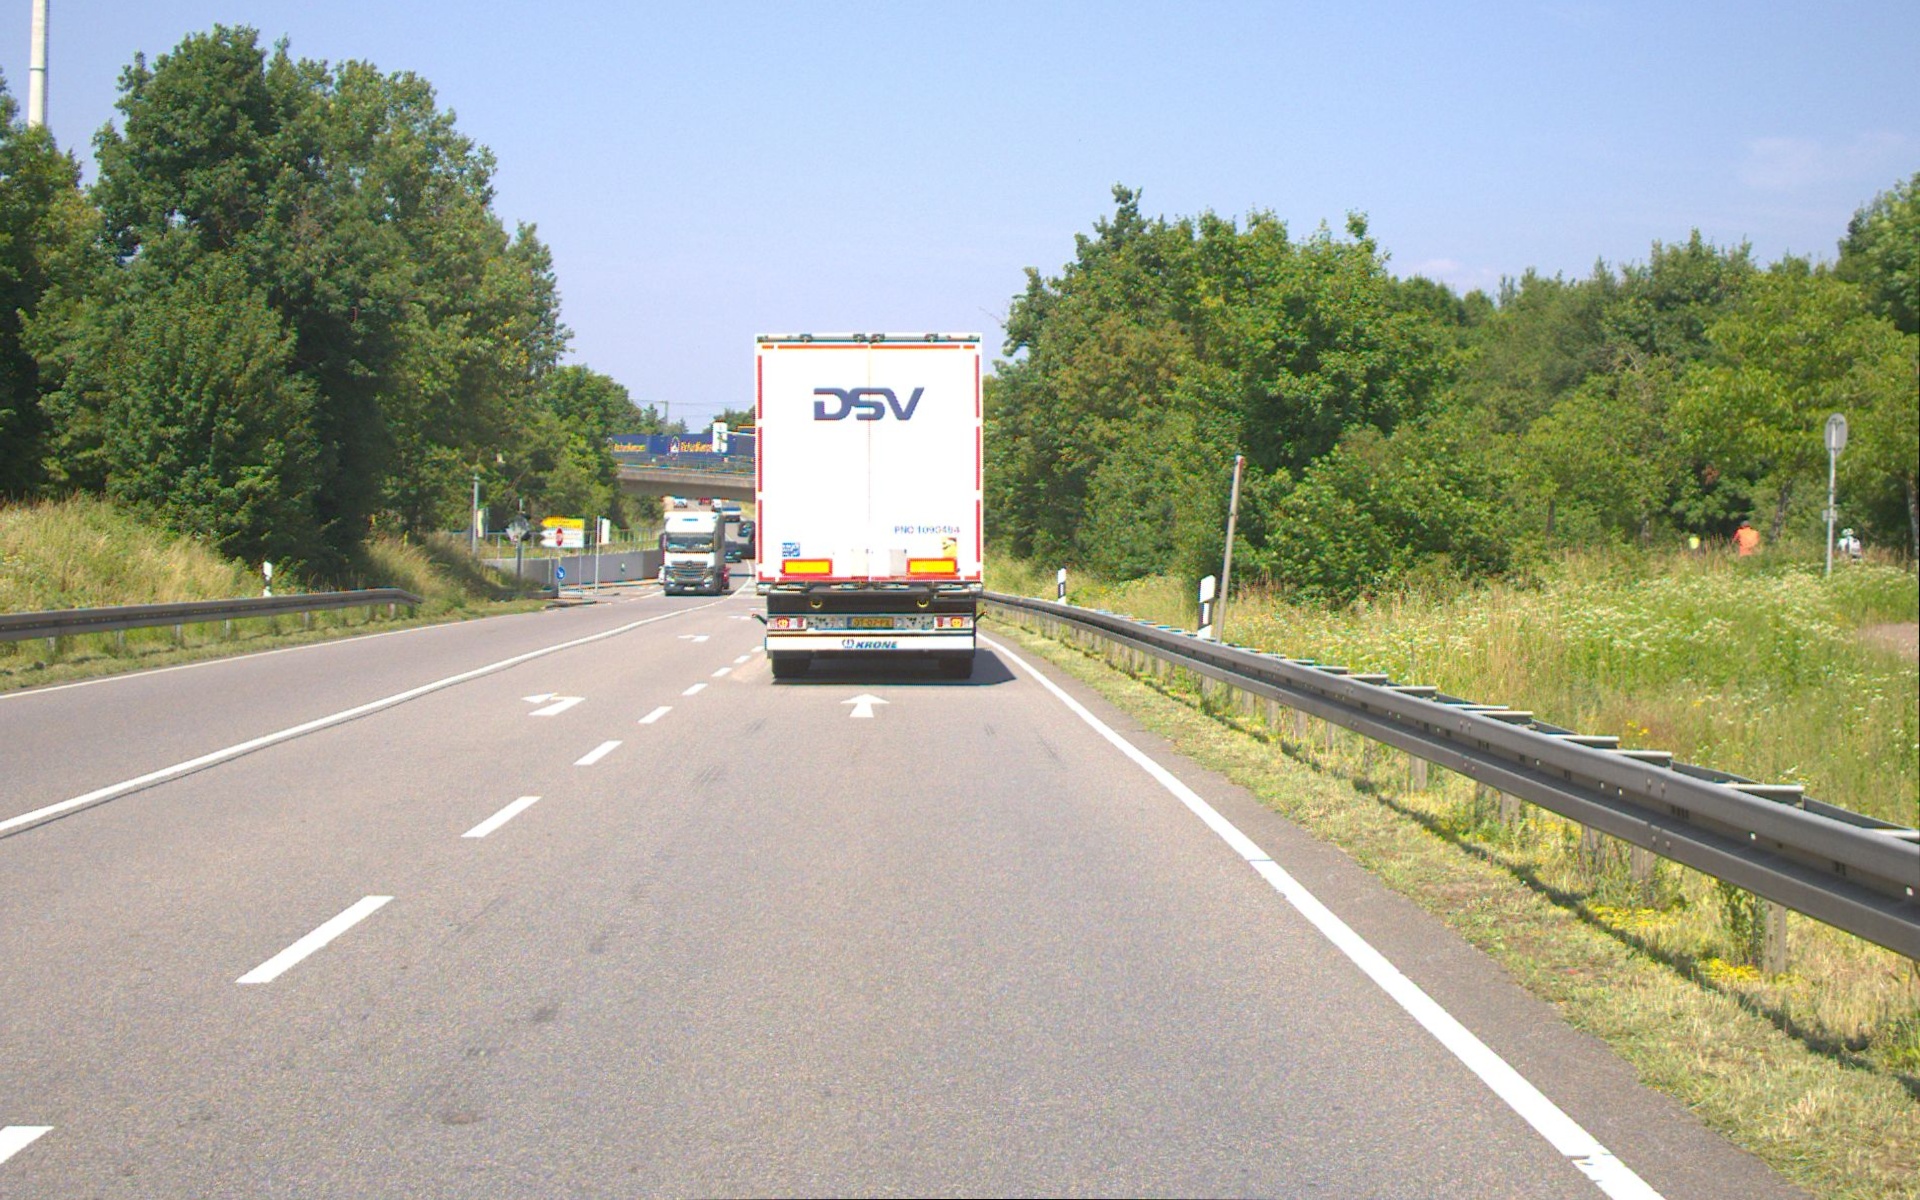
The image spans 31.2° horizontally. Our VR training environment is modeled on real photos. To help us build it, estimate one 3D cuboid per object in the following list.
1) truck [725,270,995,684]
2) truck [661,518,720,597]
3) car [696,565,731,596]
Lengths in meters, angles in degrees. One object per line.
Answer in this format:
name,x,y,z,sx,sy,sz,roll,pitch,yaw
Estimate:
truck,-1.171,-1.402,42.908,2.950,4.553,9.863,0,0,-1
truck,-13.234,-2.122,169.737,2.353,3.737,12.627,0,1,-2
car,-13.437,-1.082,187.477,1.747,1.620,3.704,0,1,-2
